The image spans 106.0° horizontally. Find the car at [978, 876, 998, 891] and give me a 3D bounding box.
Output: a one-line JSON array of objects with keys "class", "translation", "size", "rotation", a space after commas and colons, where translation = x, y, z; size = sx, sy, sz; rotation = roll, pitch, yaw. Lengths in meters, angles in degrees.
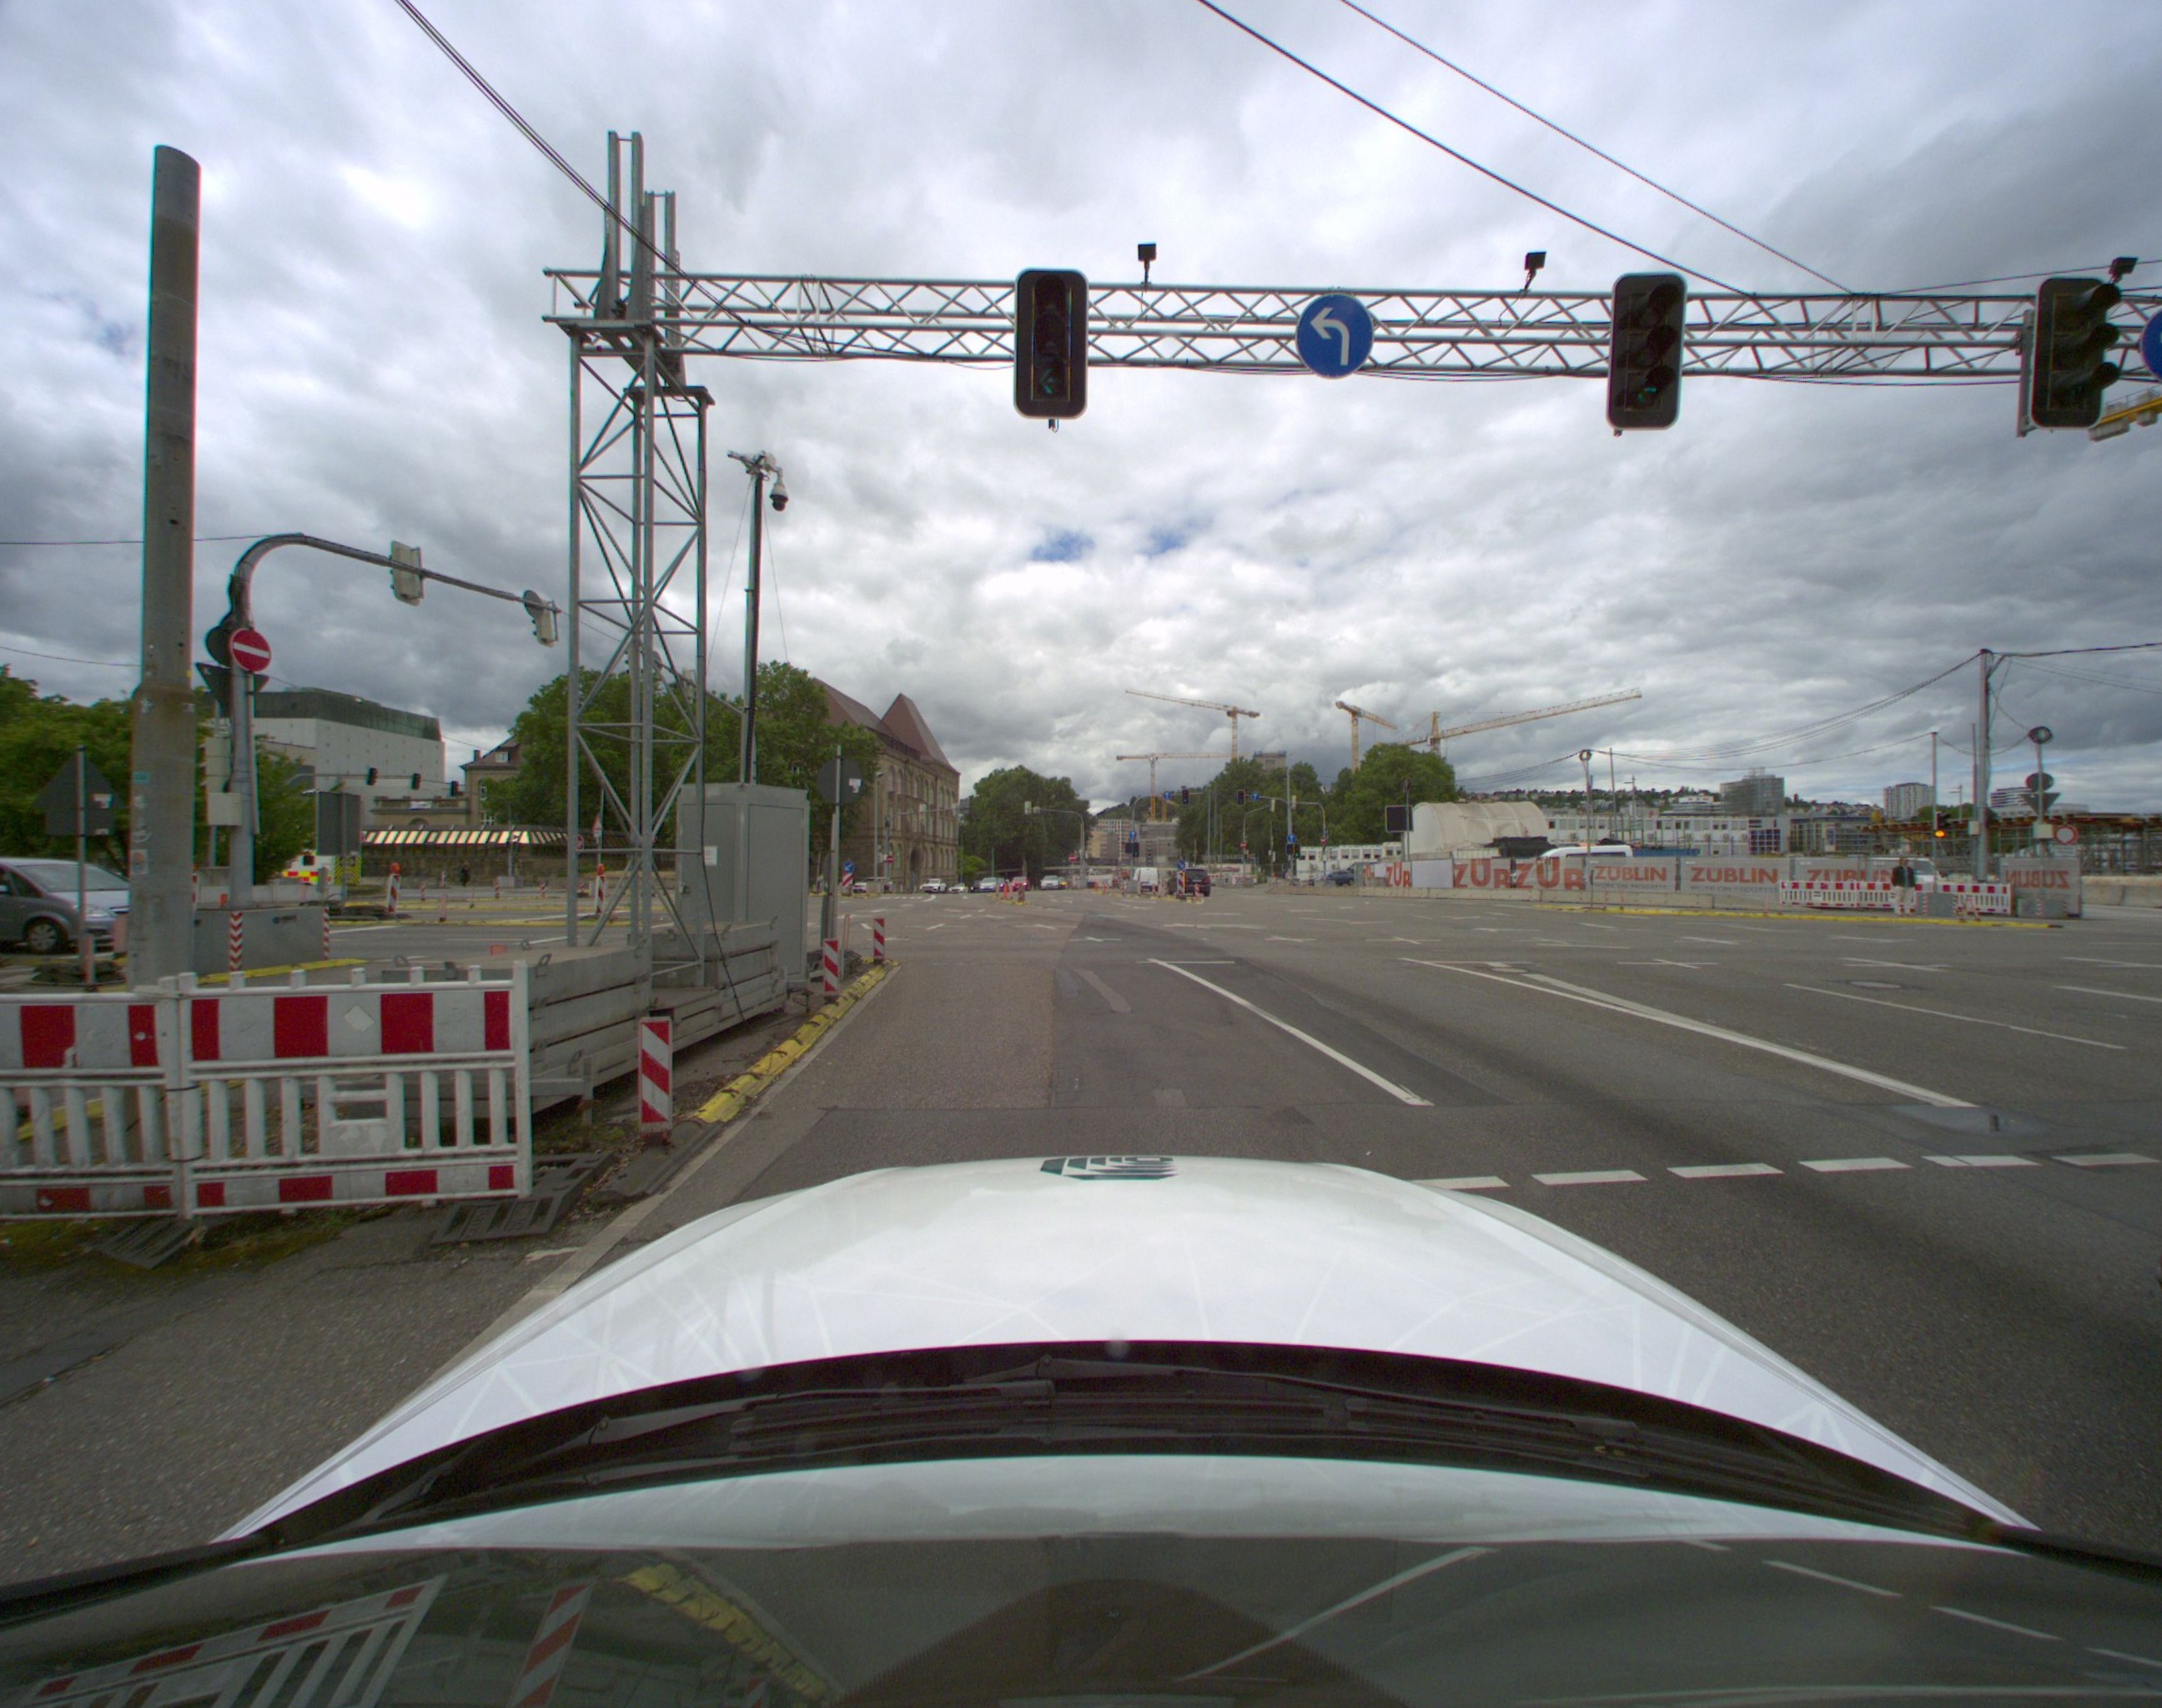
[{"class": "car", "translation": [-9.079, 2.876, 79.702], "size": [1.672, 1.398, 3.679], "rotation": [0, -1, -2]}]

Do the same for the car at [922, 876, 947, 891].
[{"class": "car", "translation": [-14.718, 2.938, 81.892], "size": [1.669, 1.398, 3.686], "rotation": [-1, -1, 3]}]

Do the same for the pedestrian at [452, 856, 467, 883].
[{"class": "pedestrian", "translation": [-46.068, 1.154, 60.392], "size": [0.643, 2.014, 0.603], "rotation": [0, -1, -1]}]

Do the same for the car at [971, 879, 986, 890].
[{"class": "car", "translation": [-13.870, 4.167, 110.554], "size": [1.672, 1.398, 3.679], "rotation": [0, -1, -2]}]

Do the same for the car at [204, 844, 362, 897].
[{"class": "car", "translation": [-47.845, 0.960, 48.992], "size": [6.726, 3.052, 2.368], "rotation": [0, -1, -5]}]

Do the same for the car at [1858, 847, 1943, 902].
[{"class": "car", "translation": [31.101, 0.771, 30.984], "size": [1.755, 1.954, 3.146], "rotation": [-1, -1, 36]}]

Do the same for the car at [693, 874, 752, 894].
[{"class": "car", "translation": [-26.656, 2.247, 60.621], "size": [1.660, 1.398, 3.706], "rotation": [-1, -1, 32]}]

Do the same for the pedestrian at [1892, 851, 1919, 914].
[{"class": "pedestrian", "translation": [26.520, 0.905, 26.200], "size": [0.581, 1.976, 0.437], "rotation": [-1, -1, 45]}]

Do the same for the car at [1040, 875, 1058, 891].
[{"class": "car", "translation": [-3.071, 2.799, 78.658], "size": [1.672, 1.398, 3.679], "rotation": [0, -1, -2]}]

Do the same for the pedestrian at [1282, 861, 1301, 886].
[{"class": "pedestrian", "translation": [16.777, 1.543, 64.869], "size": [1.093, 2.014, 1.181], "rotation": [0, -1, -8]}]

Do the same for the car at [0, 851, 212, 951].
[{"class": "car", "translation": [-18.251, 0.802, 14.296], "size": [4.039, 1.625, 1.830], "rotation": [-1, -1, 1]}]

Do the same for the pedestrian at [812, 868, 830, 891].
[{"class": "pedestrian", "translation": [-22.583, 2.191, 70.789], "size": [1.188, 2.014, 1.174], "rotation": [0, -2, -34]}]

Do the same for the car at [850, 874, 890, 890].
[{"class": "car", "translation": [-18.585, 2.464, 71.813], "size": [1.662, 1.398, 3.701], "rotation": [-1, -1, 19]}]

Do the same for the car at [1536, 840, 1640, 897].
[{"class": "car", "translation": [24.455, 0.726, 39.428], "size": [3.956, 2.662, 1.689], "rotation": [-1, -1, 17]}]

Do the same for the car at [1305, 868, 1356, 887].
[{"class": "car", "translation": [22.100, 2.036, 72.107], "size": [3.994, 1.625, 1.813], "rotation": [0, -1, -15]}]

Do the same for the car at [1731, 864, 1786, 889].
[{"class": "car", "translation": [43.318, 1.437, 52.130], "size": [1.661, 1.528, 4.022], "rotation": [-1, -1, 24]}]

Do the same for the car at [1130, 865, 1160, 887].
[{"class": "car", "translation": [4.918, 1.720, 63.252], "size": [1.813, 1.625, 3.995], "rotation": [0, -1, -3]}]

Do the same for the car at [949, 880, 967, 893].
[{"class": "car", "translation": [-14.346, 3.756, 94.992], "size": [1.672, 1.398, 3.679], "rotation": [0, -1, -2]}]

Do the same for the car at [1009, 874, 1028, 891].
[{"class": "car", "translation": [-5.974, 2.735, 78.617], "size": [1.672, 1.580, 3.679], "rotation": [0, -1, -2]}]

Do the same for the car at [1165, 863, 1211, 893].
[{"class": "car", "translation": [6.488, 1.461, 49.820], "size": [1.829, 1.746, 4.246], "rotation": [0, -1, -6]}]
